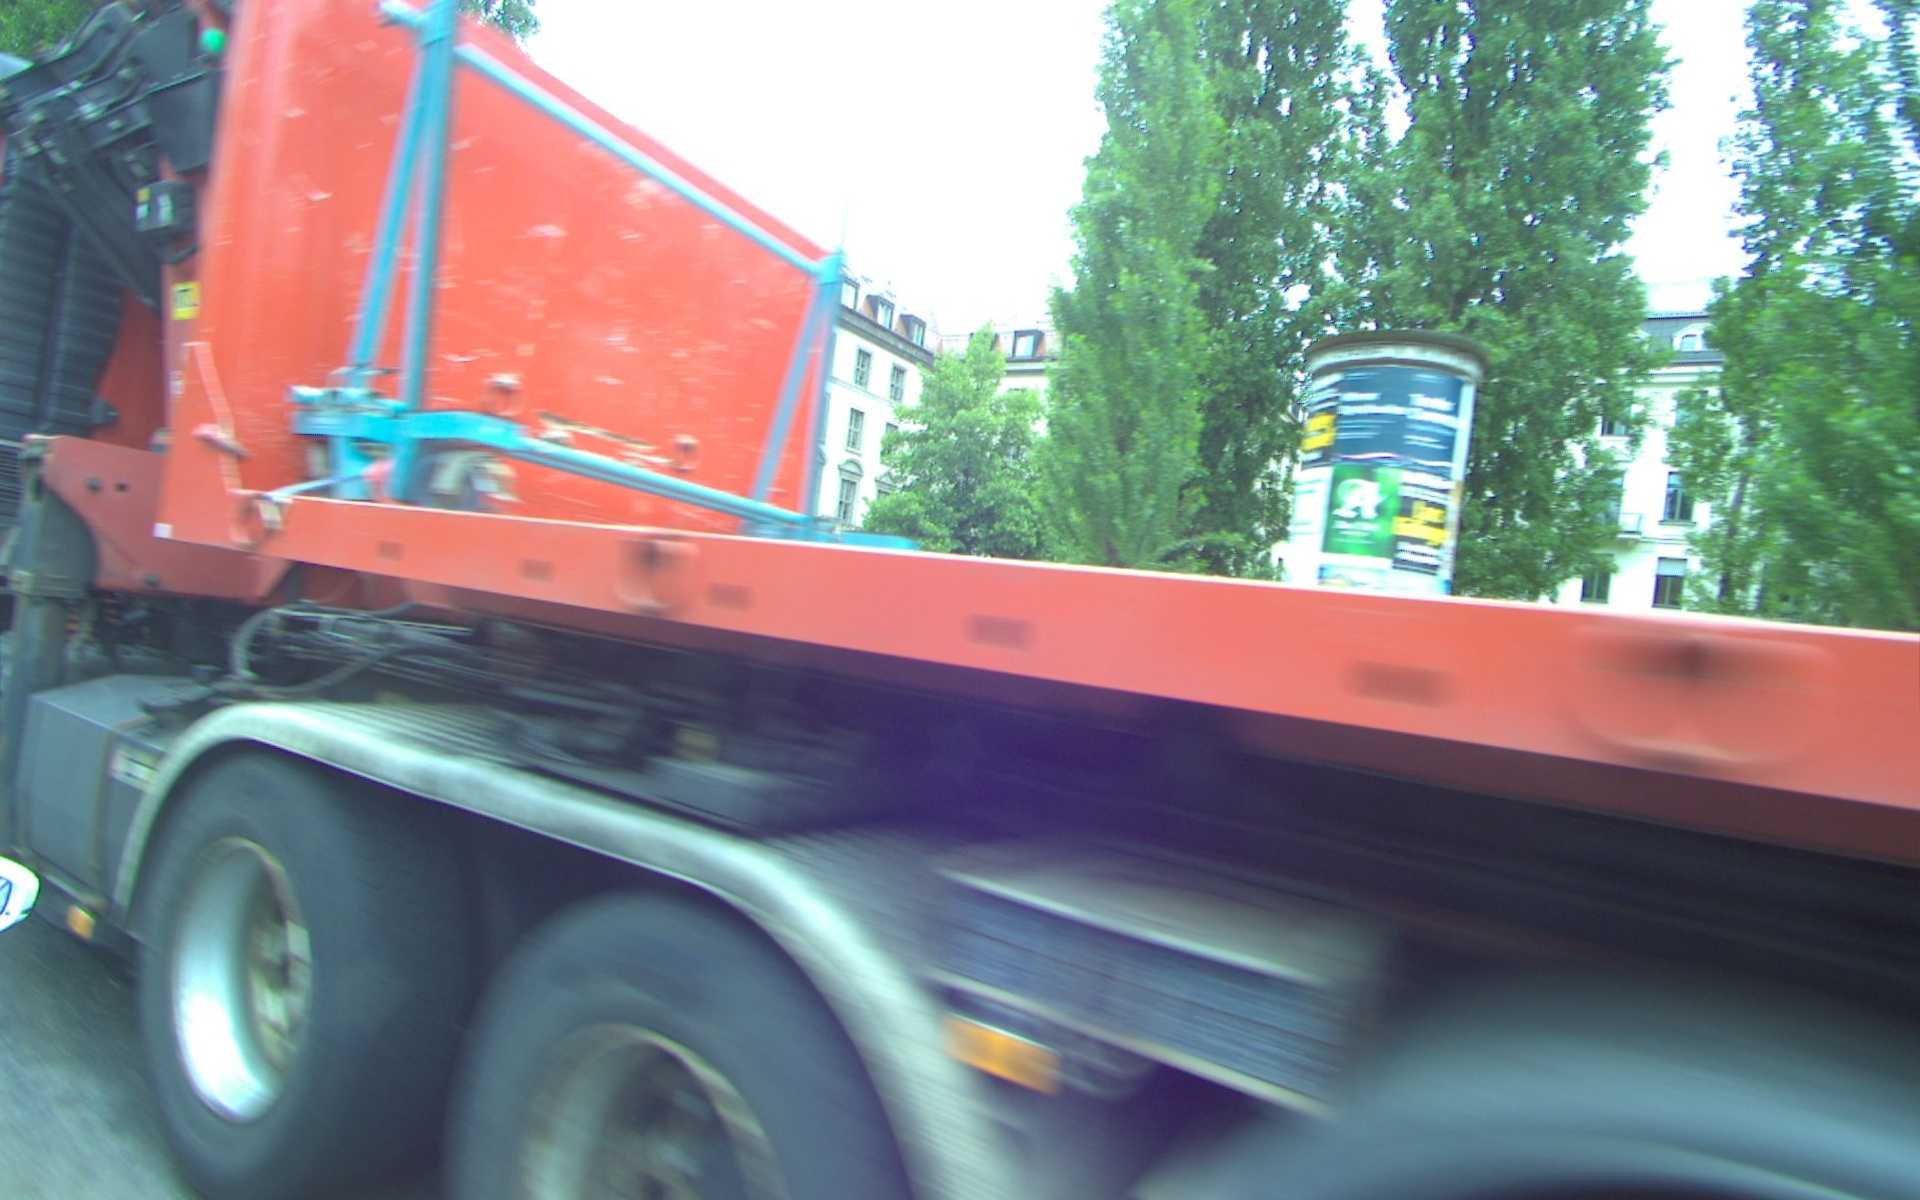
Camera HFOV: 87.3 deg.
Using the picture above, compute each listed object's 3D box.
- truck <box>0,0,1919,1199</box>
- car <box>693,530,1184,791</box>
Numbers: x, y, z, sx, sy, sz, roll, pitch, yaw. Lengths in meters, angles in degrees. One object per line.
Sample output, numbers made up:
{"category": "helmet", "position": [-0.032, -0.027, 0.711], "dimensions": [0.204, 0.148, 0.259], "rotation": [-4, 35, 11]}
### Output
{"category": "truck", "position": [-1.102, -0.205, 3.465], "dimensions": [10.255, 3.148, 2.716], "rotation": [7, 0, 32]}
{"category": "car", "position": [-0.328, 0.536, 10.771], "dimensions": [4.803, 1.967, 1.885], "rotation": [7, -2, 31]}
